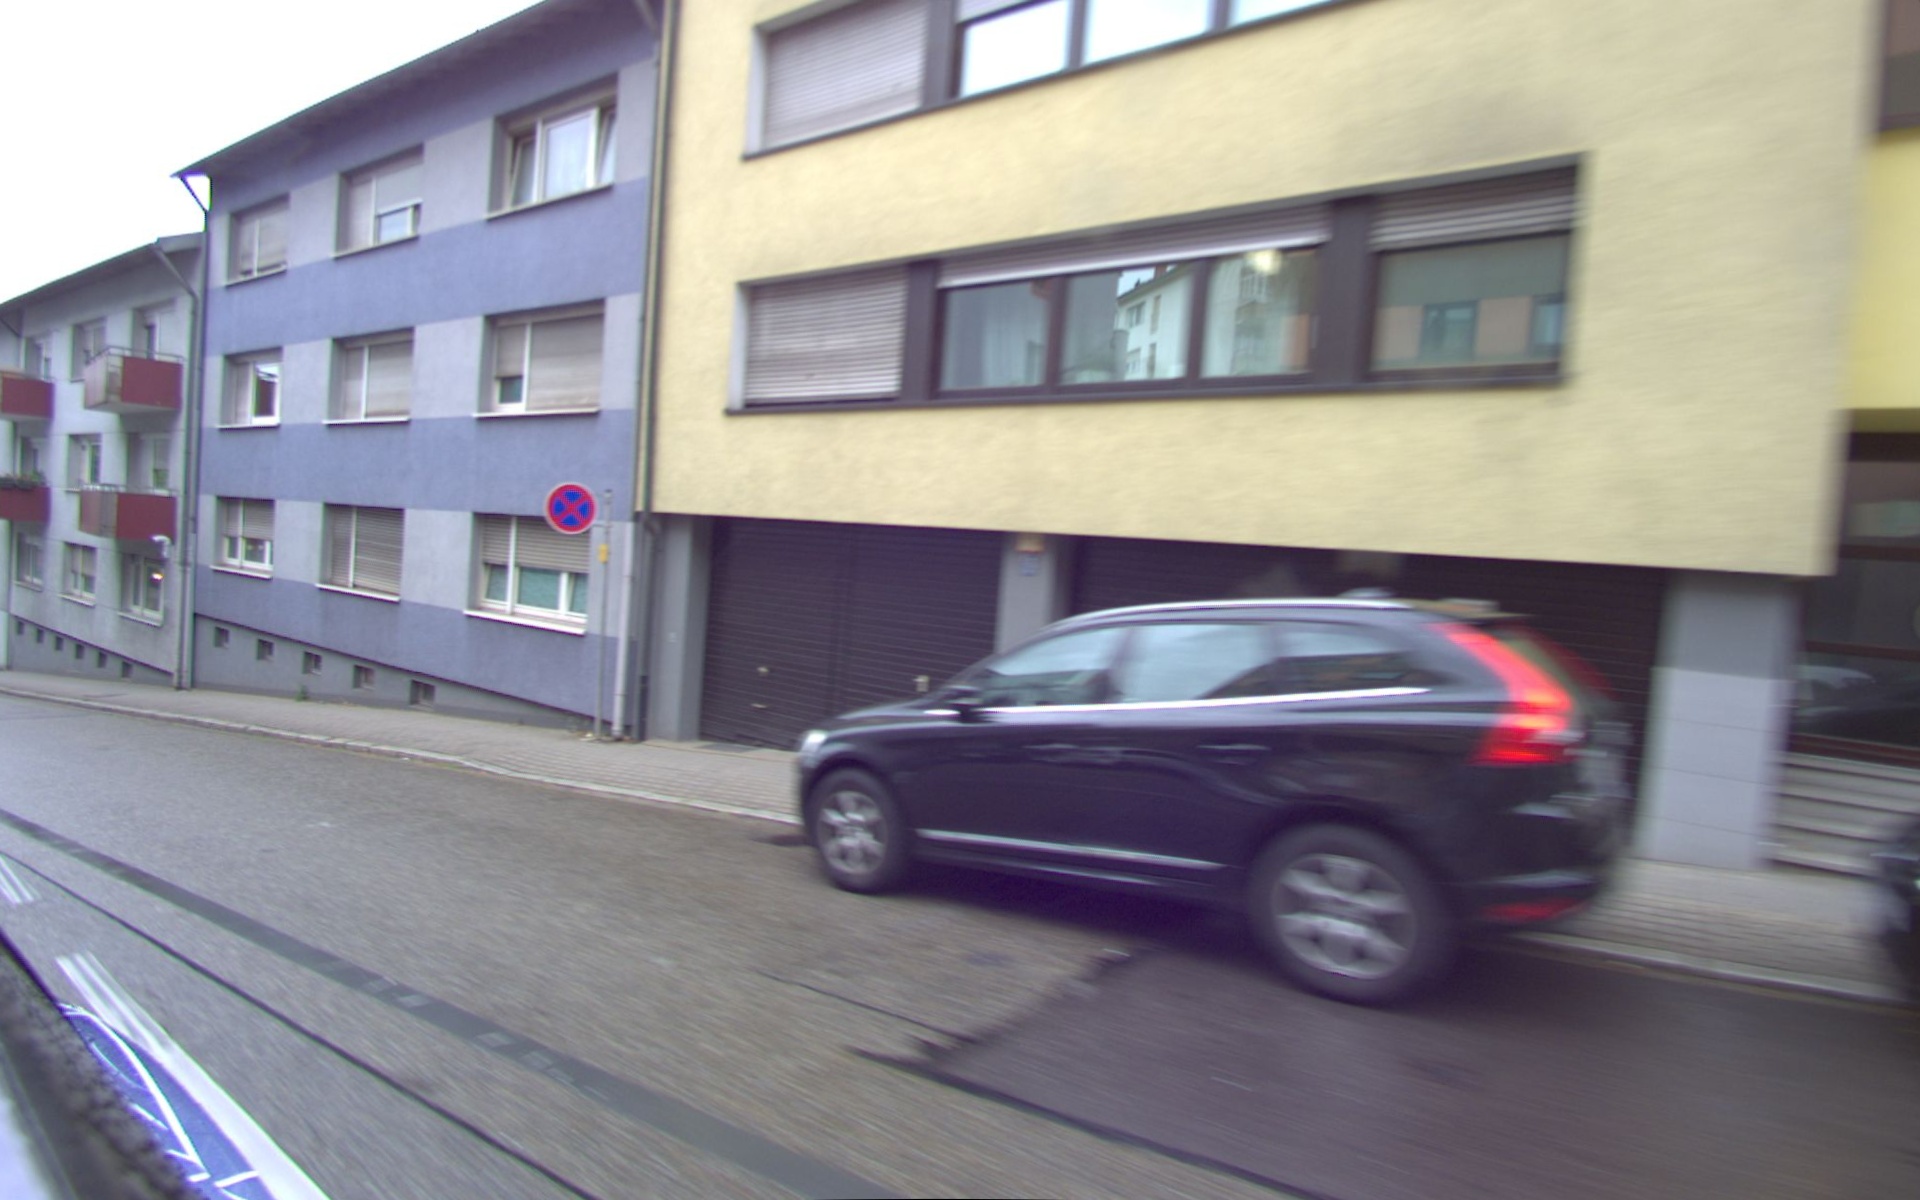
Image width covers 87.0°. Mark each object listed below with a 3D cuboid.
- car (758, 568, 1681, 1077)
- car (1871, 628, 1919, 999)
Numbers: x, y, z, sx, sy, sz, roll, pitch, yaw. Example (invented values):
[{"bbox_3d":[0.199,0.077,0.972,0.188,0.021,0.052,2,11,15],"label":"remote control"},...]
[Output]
[{"bbox_3d":[1.123,0.818,5.494,4.435,1.662,1.974,-2,-3,38],"label":"car"},{"bbox_3d":[5.455,0.790,2.600,4.337,1.483,1.976,-2,-3,35],"label":"car"}]
